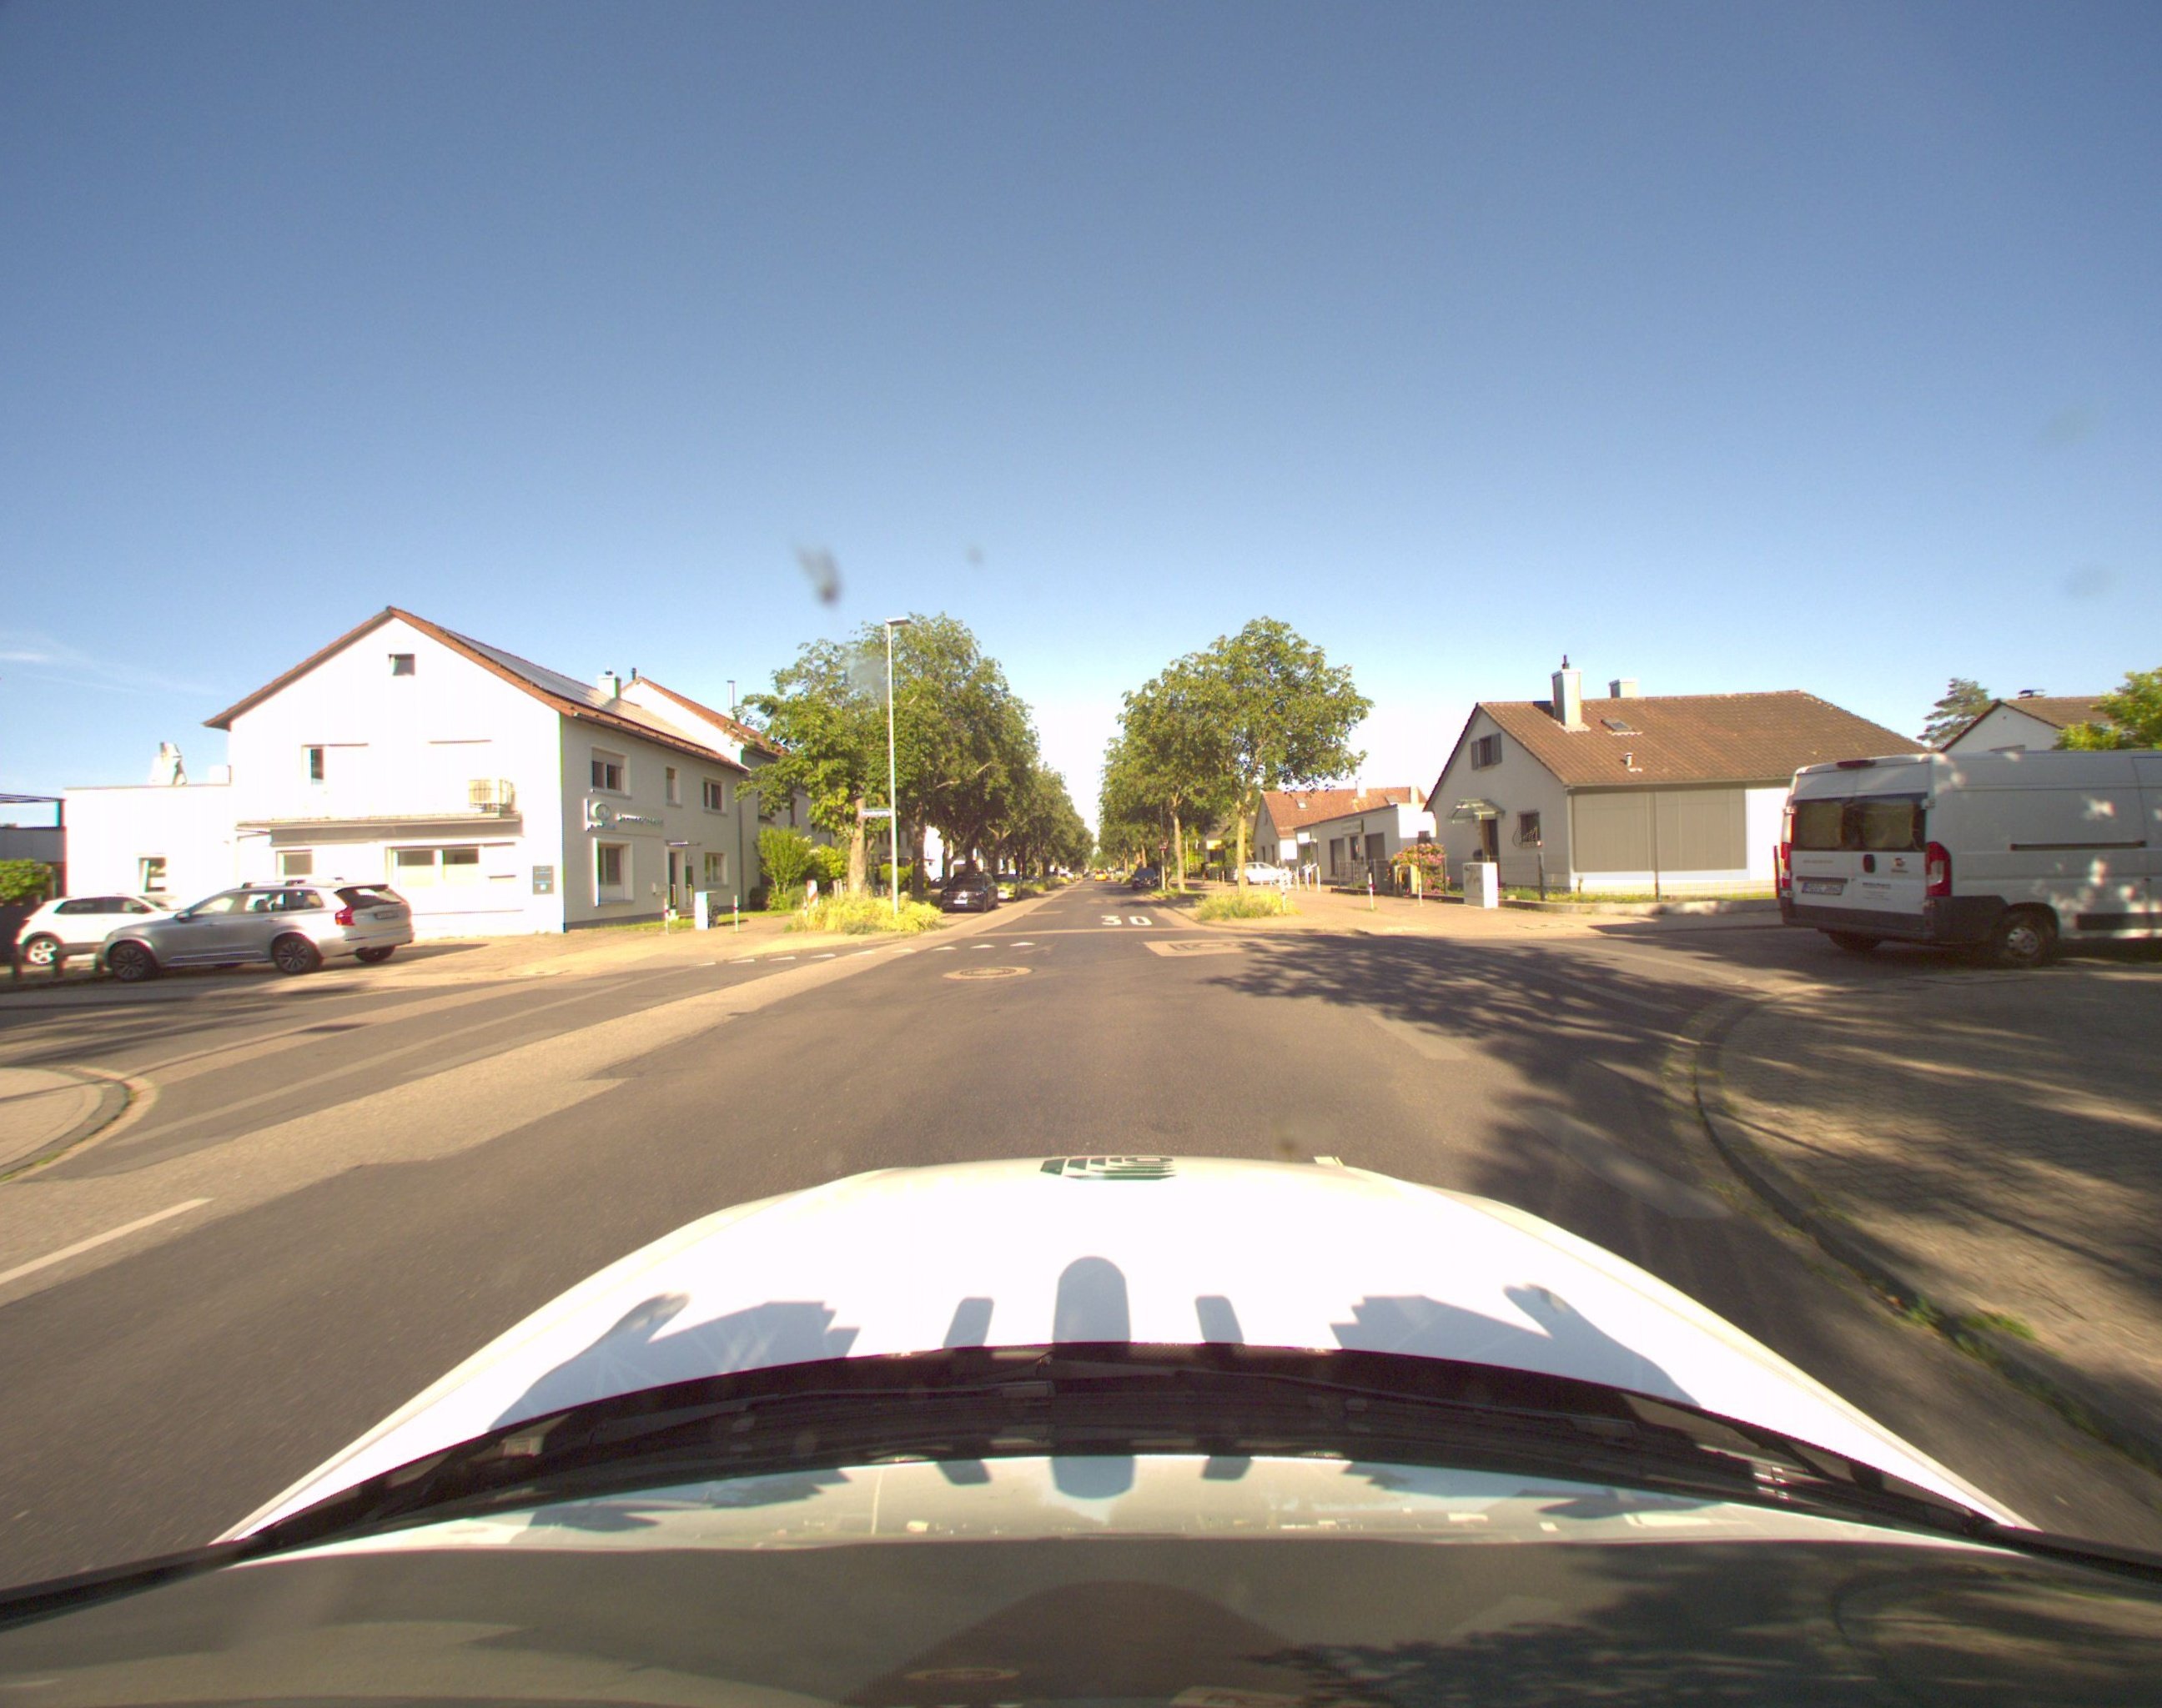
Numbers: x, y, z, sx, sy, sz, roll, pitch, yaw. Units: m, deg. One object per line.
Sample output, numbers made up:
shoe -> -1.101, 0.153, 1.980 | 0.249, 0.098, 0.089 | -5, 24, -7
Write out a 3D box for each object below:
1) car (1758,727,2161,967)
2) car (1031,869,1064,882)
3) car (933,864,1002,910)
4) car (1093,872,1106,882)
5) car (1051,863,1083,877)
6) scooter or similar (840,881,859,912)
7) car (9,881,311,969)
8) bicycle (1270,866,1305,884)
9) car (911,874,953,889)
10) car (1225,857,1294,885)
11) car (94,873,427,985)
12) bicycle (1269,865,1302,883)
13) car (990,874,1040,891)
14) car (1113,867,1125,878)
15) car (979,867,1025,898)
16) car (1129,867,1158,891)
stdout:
car -> 12.130, -0.134, 10.102 | 5.579, 2.539, 2.264 | -2, -1, -2
car -> -4.787, 3.056, 115.478 | 4.536, 1.766, 1.997 | -1, 0, -4
car -> -4.577, 1.343, 33.612 | 1.946, 1.727, 4.877 | -1, -2, 2
car -> 2.839, 3.533, 125.676 | 1.882, 1.479, 3.887 | 0, -1, 0
car -> -2.476, 2.788, 143.536 | 5.481, 2.247, 2.516 | -1, 0, -1
scooter or similar -> -7.931, 1.444, 27.923 | 0.334, 1.001, 0.996 | -3, -1, -2
car -> -21.667, 1.629, 19.352 | 4.494, 1.555, 1.996 | -4, 0, -6
bicycle -> 12.638, 1.274, 49.828 | 1.952, 0.998, 0.576 | -4, 0, -1
car -> -17.248, 3.177, 94.710 | 4.544, 1.618, 1.998 | -1, 0, -3
car -> 11.564, 1.095, 52.904 | 3.974, 1.489, 1.902 | -4, 0, -1
car -> -16.374, 1.441, 16.487 | 4.477, 1.837, 1.999 | -2, 2, -2
bicycle -> 12.758, 1.251, 50.817 | 1.917, 0.998, 0.576 | -4, 0, -1
car -> -6.289, 2.712, 77.926 | 4.538, 1.511, 1.841 | -1, 0, 0
car -> 6.197, 3.101, 134.234 | 1.895, 1.774, 4.302 | -1, -2, 2
car -> -4.349, 1.603, 45.212 | 1.931, 1.609, 4.385 | -1, -2, 2
car -> 4.656, 1.888, 61.142 | 1.846, 1.626, 4.469 | -4, -2, 1
